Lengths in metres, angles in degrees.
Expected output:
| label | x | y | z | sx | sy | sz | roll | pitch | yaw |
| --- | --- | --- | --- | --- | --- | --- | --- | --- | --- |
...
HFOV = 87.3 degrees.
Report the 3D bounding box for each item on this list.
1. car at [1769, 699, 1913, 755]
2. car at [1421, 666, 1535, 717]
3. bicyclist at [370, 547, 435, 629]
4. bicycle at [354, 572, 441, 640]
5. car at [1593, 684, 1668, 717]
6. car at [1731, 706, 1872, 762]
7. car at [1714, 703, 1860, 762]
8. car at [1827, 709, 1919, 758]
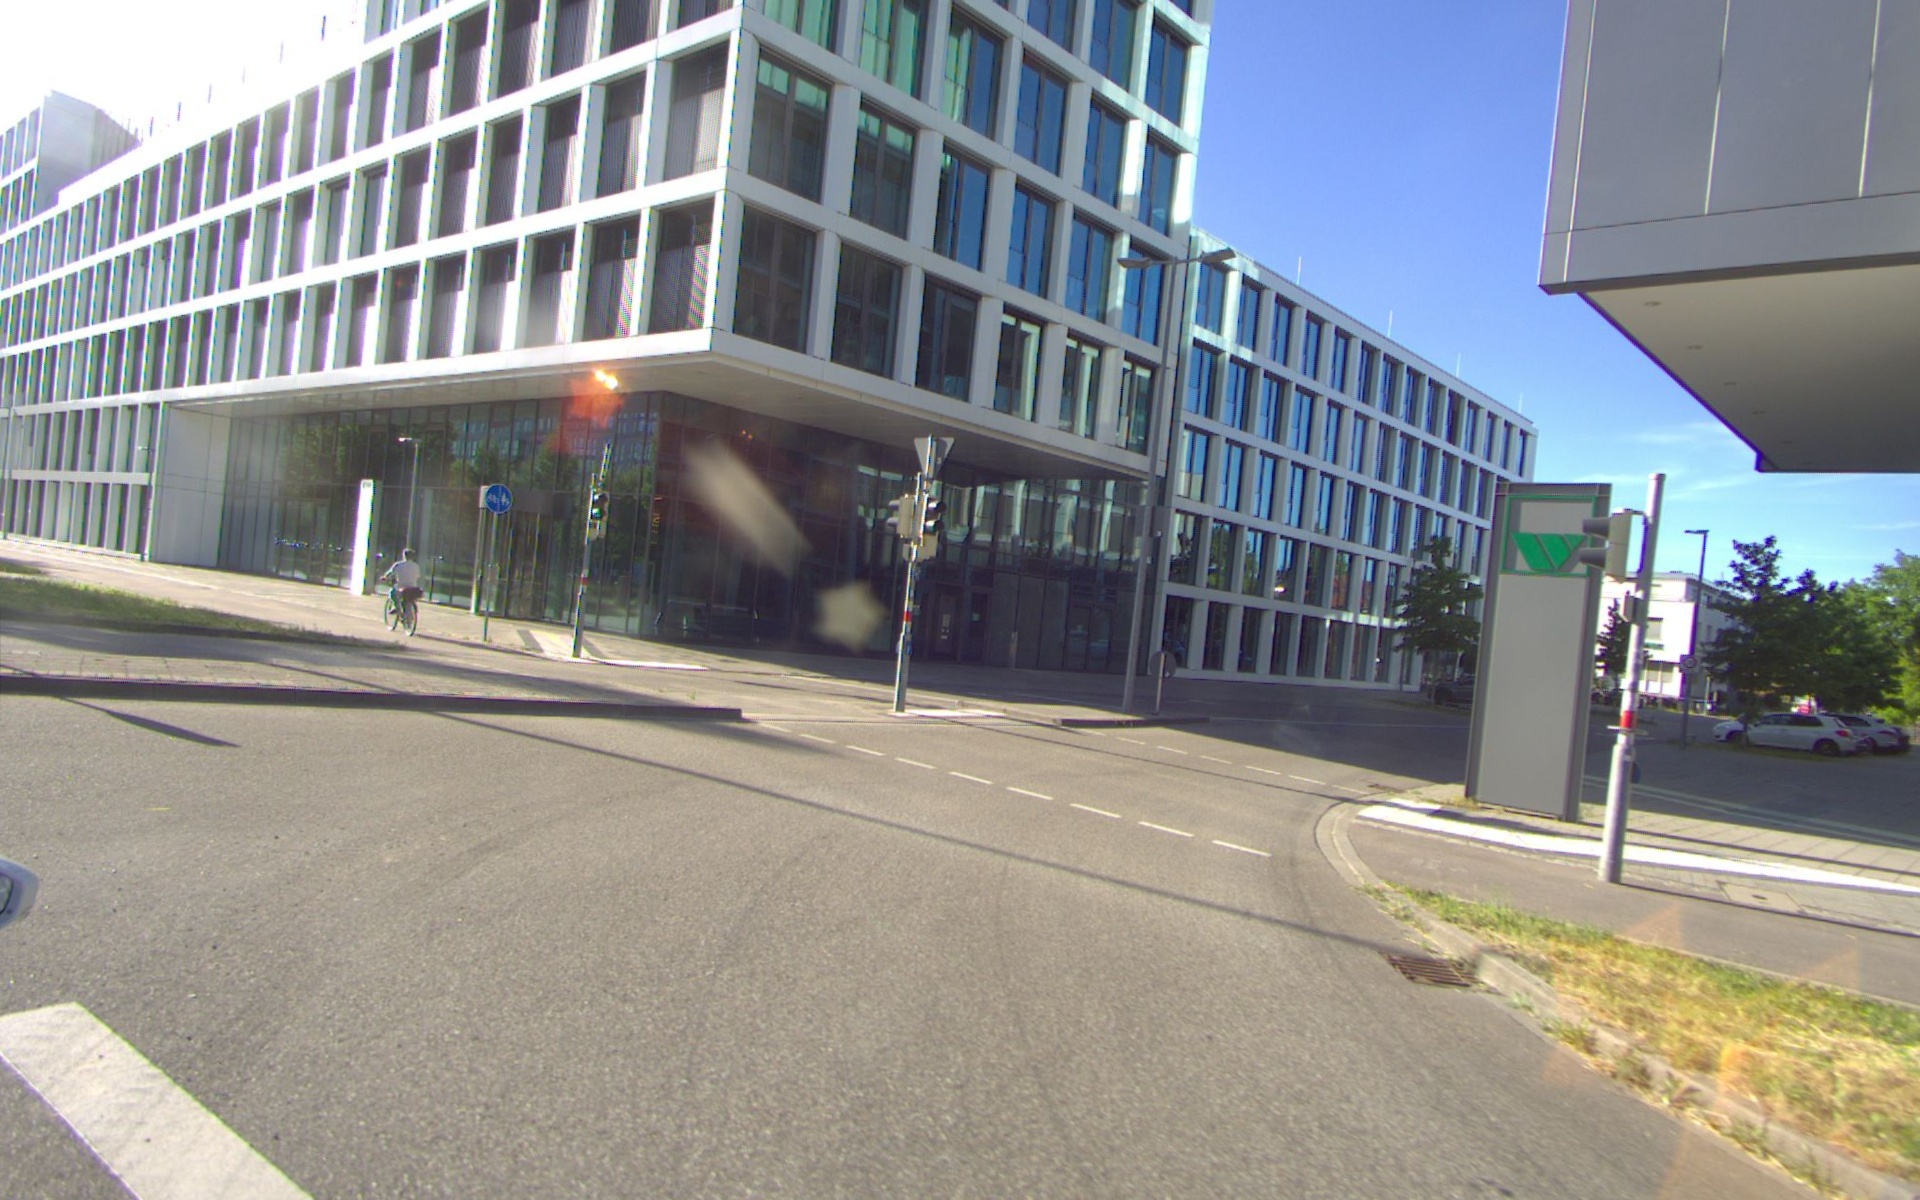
| label | x | y | z | sx | sy | sz | roll | pitch | yaw |
| --- | --- | --- | --- | --- | --- | --- | --- | --- | --- |
| car | 38.336 | 5.490 | 43.852 | 1.780 | 1.749 | 4.409 | 7 | -1 | -40 |
| car | 23.706 | 4.185 | 46.156 | 4.238 | 1.734 | 1.651 | 6 | 0 | 44 |
| bicyclist | -11.435 | -0.244 | 20.644 | 0.836 | 1.550 | 0.771 | 6 | 1 | 35 |
| bicycle | -11.596 | 0.122 | 20.721 | 1.931 | 1.188 | 0.741 | 6 | 0 | 36 |
| car | 49.168 | 7.370 | 73.827 | 1.855 | 1.816 | 4.083 | 6 | -1 | -41 |
| car | 32.902 | 5.200 | 39.407 | 1.649 | 1.523 | 3.953 | 6 | -1 | -42 |
| car | 30.872 | 4.916 | 37.638 | 1.649 | 1.523 | 3.953 | 6 | -1 | -42 |
| car | 43.141 | 6.241 | 46.458 | 1.780 | 1.749 | 4.409 | 7 | -1 | -40 |
